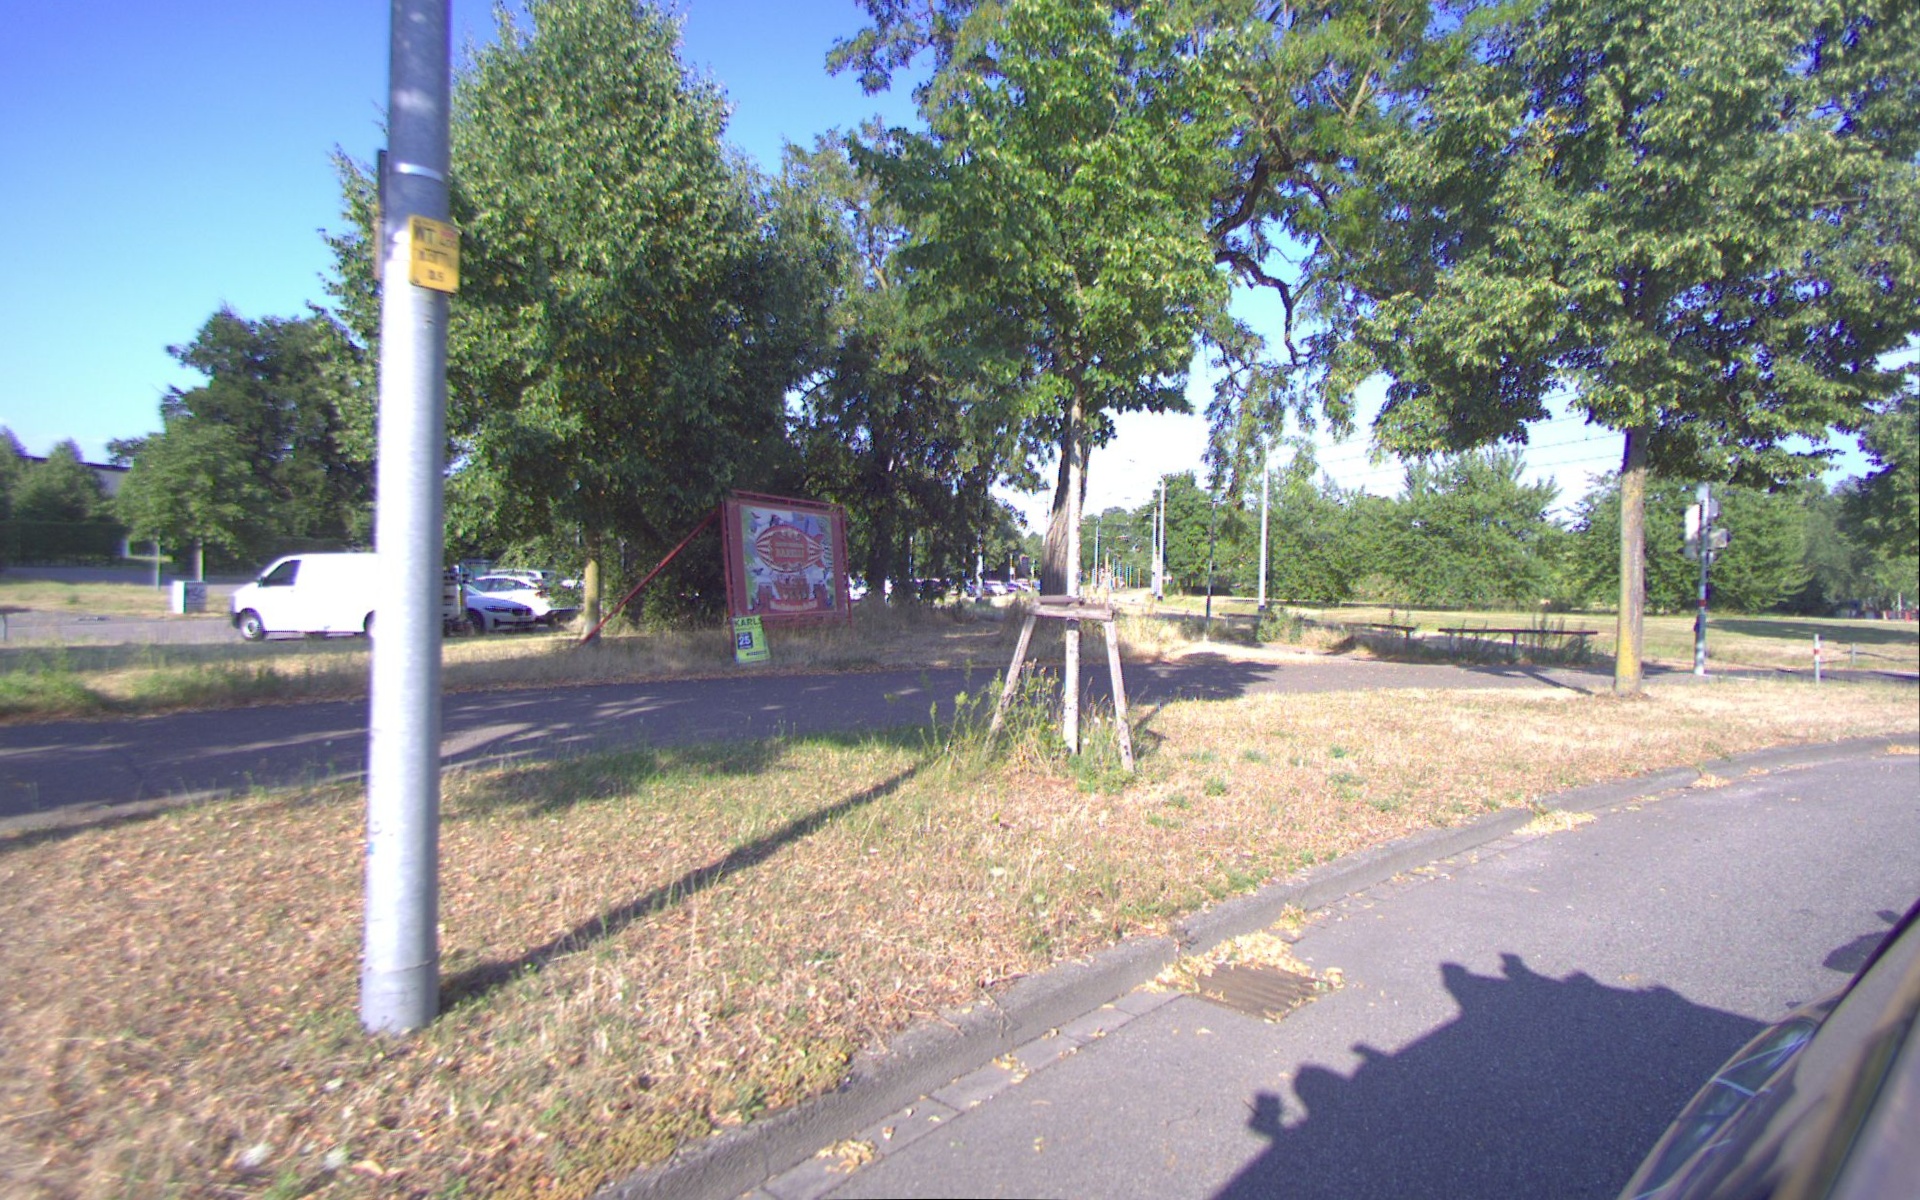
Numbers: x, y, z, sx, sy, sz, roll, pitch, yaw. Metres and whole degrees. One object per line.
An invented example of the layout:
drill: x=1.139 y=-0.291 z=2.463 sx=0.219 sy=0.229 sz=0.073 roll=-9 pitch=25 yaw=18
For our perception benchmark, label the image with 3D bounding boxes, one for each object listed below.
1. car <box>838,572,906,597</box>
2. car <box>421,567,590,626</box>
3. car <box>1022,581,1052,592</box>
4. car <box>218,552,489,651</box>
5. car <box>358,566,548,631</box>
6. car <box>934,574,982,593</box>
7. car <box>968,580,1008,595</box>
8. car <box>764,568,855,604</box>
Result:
car: x=-5.304 y=-0.950 z=61.092 sx=3.738 sy=1.388 sz=1.781 roll=2 pitch=1 yaw=11
car: x=-12.524 y=-0.120 z=27.964 sx=3.939 sy=1.461 sz=1.864 roll=2 pitch=1 yaw=13
car: x=10.081 y=-1.779 z=132.362 sx=3.738 sy=1.307 sz=1.781 roll=2 pitch=1 yaw=11
car: x=-13.544 y=-0.025 z=22.695 sx=5.141 sy=2.039 sz=2.261 roll=1 pitch=1 yaw=14
car: x=-12.527 y=-0.067 z=25.106 sx=3.939 sy=1.461 sz=1.864 roll=2 pitch=1 yaw=13
car: x=-0.167 y=-1.327 z=81.965 sx=3.730 sy=1.388 sz=1.784 roll=1 pitch=1 yaw=4
car: x=2.728 y=-1.231 z=97.488 sx=3.730 sy=1.388 sz=1.784 roll=1 pitch=1 yaw=4
car: x=-7.231 y=-0.701 z=48.818 sx=3.938 sy=1.593 sz=1.993 roll=2 pitch=1 yaw=12
